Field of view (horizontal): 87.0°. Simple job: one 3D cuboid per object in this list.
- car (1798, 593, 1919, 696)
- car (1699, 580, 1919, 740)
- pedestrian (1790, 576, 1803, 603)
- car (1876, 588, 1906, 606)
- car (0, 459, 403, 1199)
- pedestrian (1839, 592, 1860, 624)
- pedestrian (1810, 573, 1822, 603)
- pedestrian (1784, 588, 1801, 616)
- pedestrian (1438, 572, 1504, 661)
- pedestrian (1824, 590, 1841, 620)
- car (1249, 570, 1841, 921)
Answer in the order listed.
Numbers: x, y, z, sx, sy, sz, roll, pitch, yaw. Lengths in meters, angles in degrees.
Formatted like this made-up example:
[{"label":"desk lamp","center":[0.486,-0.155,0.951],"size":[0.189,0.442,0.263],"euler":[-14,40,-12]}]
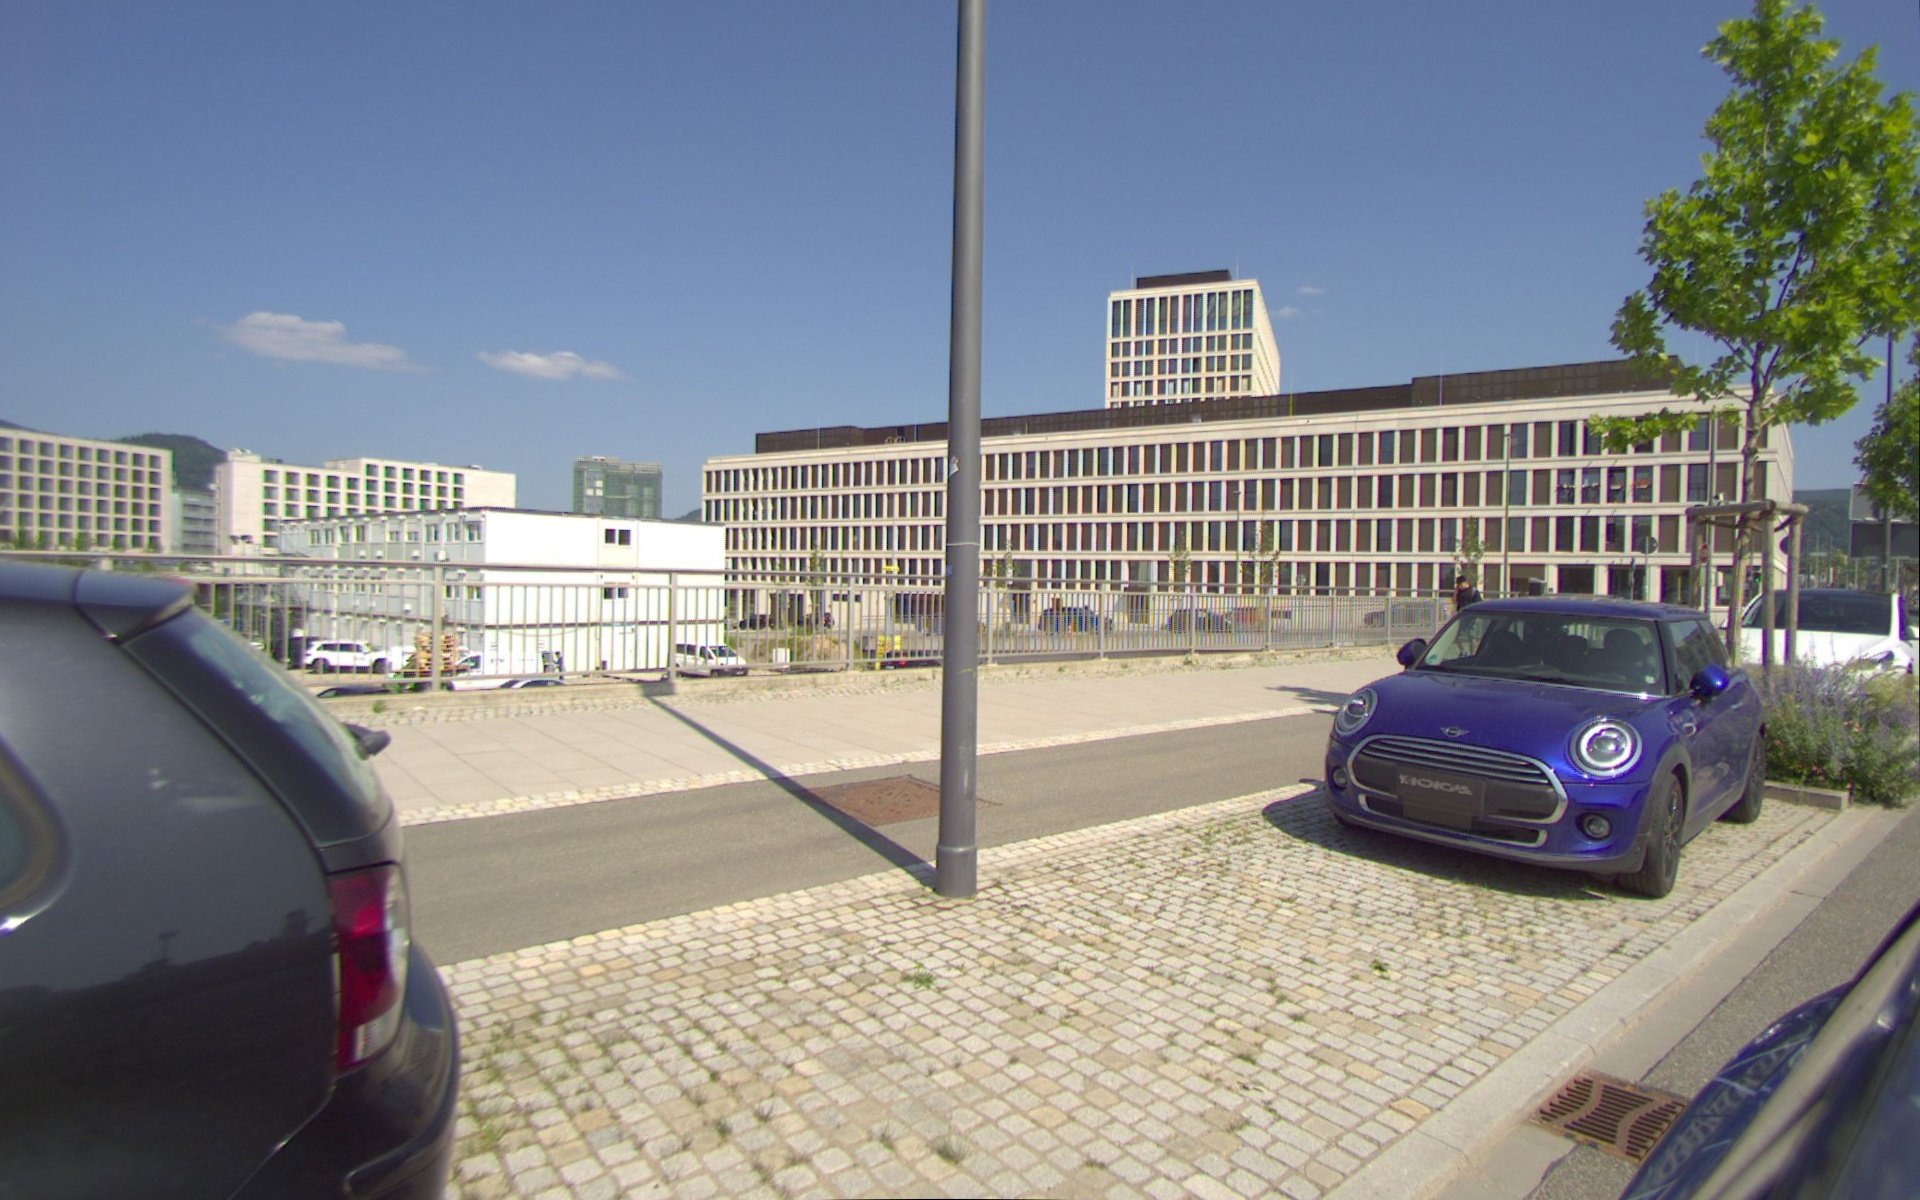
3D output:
[{"label":"car","center":[15.586,0.672,16.768],"size":[3.930,1.538,1.997],"euler":[0,0,-41]},{"label":"car","center":[11.089,0.621,12.767],"size":[4.791,1.648,1.875],"euler":[1,1,-42]},{"label":"pedestrian","center":[54.359,-0.674,65.791],"size":[0.576,1.740,0.982],"euler":[3,3,41]},{"label":"car","center":[84.694,-0.276,92.076],"size":[1.803,1.527,3.942],"euler":[-1,1,41]},{"label":"car","center":[-2.695,0.559,0.748],"size":[3.755,1.497,1.624],"euler":[1,1,-40]},{"label":"pedestrian","center":[52.241,0.441,59.441],"size":[0.877,1.850,1.639],"euler":[-1,-1,42]},{"label":"pedestrian","center":[55.089,-0.762,65.155],"size":[0.576,1.762,0.982],"euler":[0,-15,41]},{"label":"pedestrian","center":[54.198,0.127,65.871],"size":[0.823,1.805,0.913],"euler":[2,2,41]},{"label":"pedestrian","center":[9.862,0.303,19.531],"size":[0.932,1.628,0.752],"euler":[1,3,-41]},{"label":"pedestrian","center":[51.531,0.287,59.769],"size":[0.700,1.745,0.784],"euler":[-1,-1,43]},{"label":"car","center":[3.870,0.631,6.419],"size":[4.083,1.497,1.913],"euler":[1,1,-39]}]
